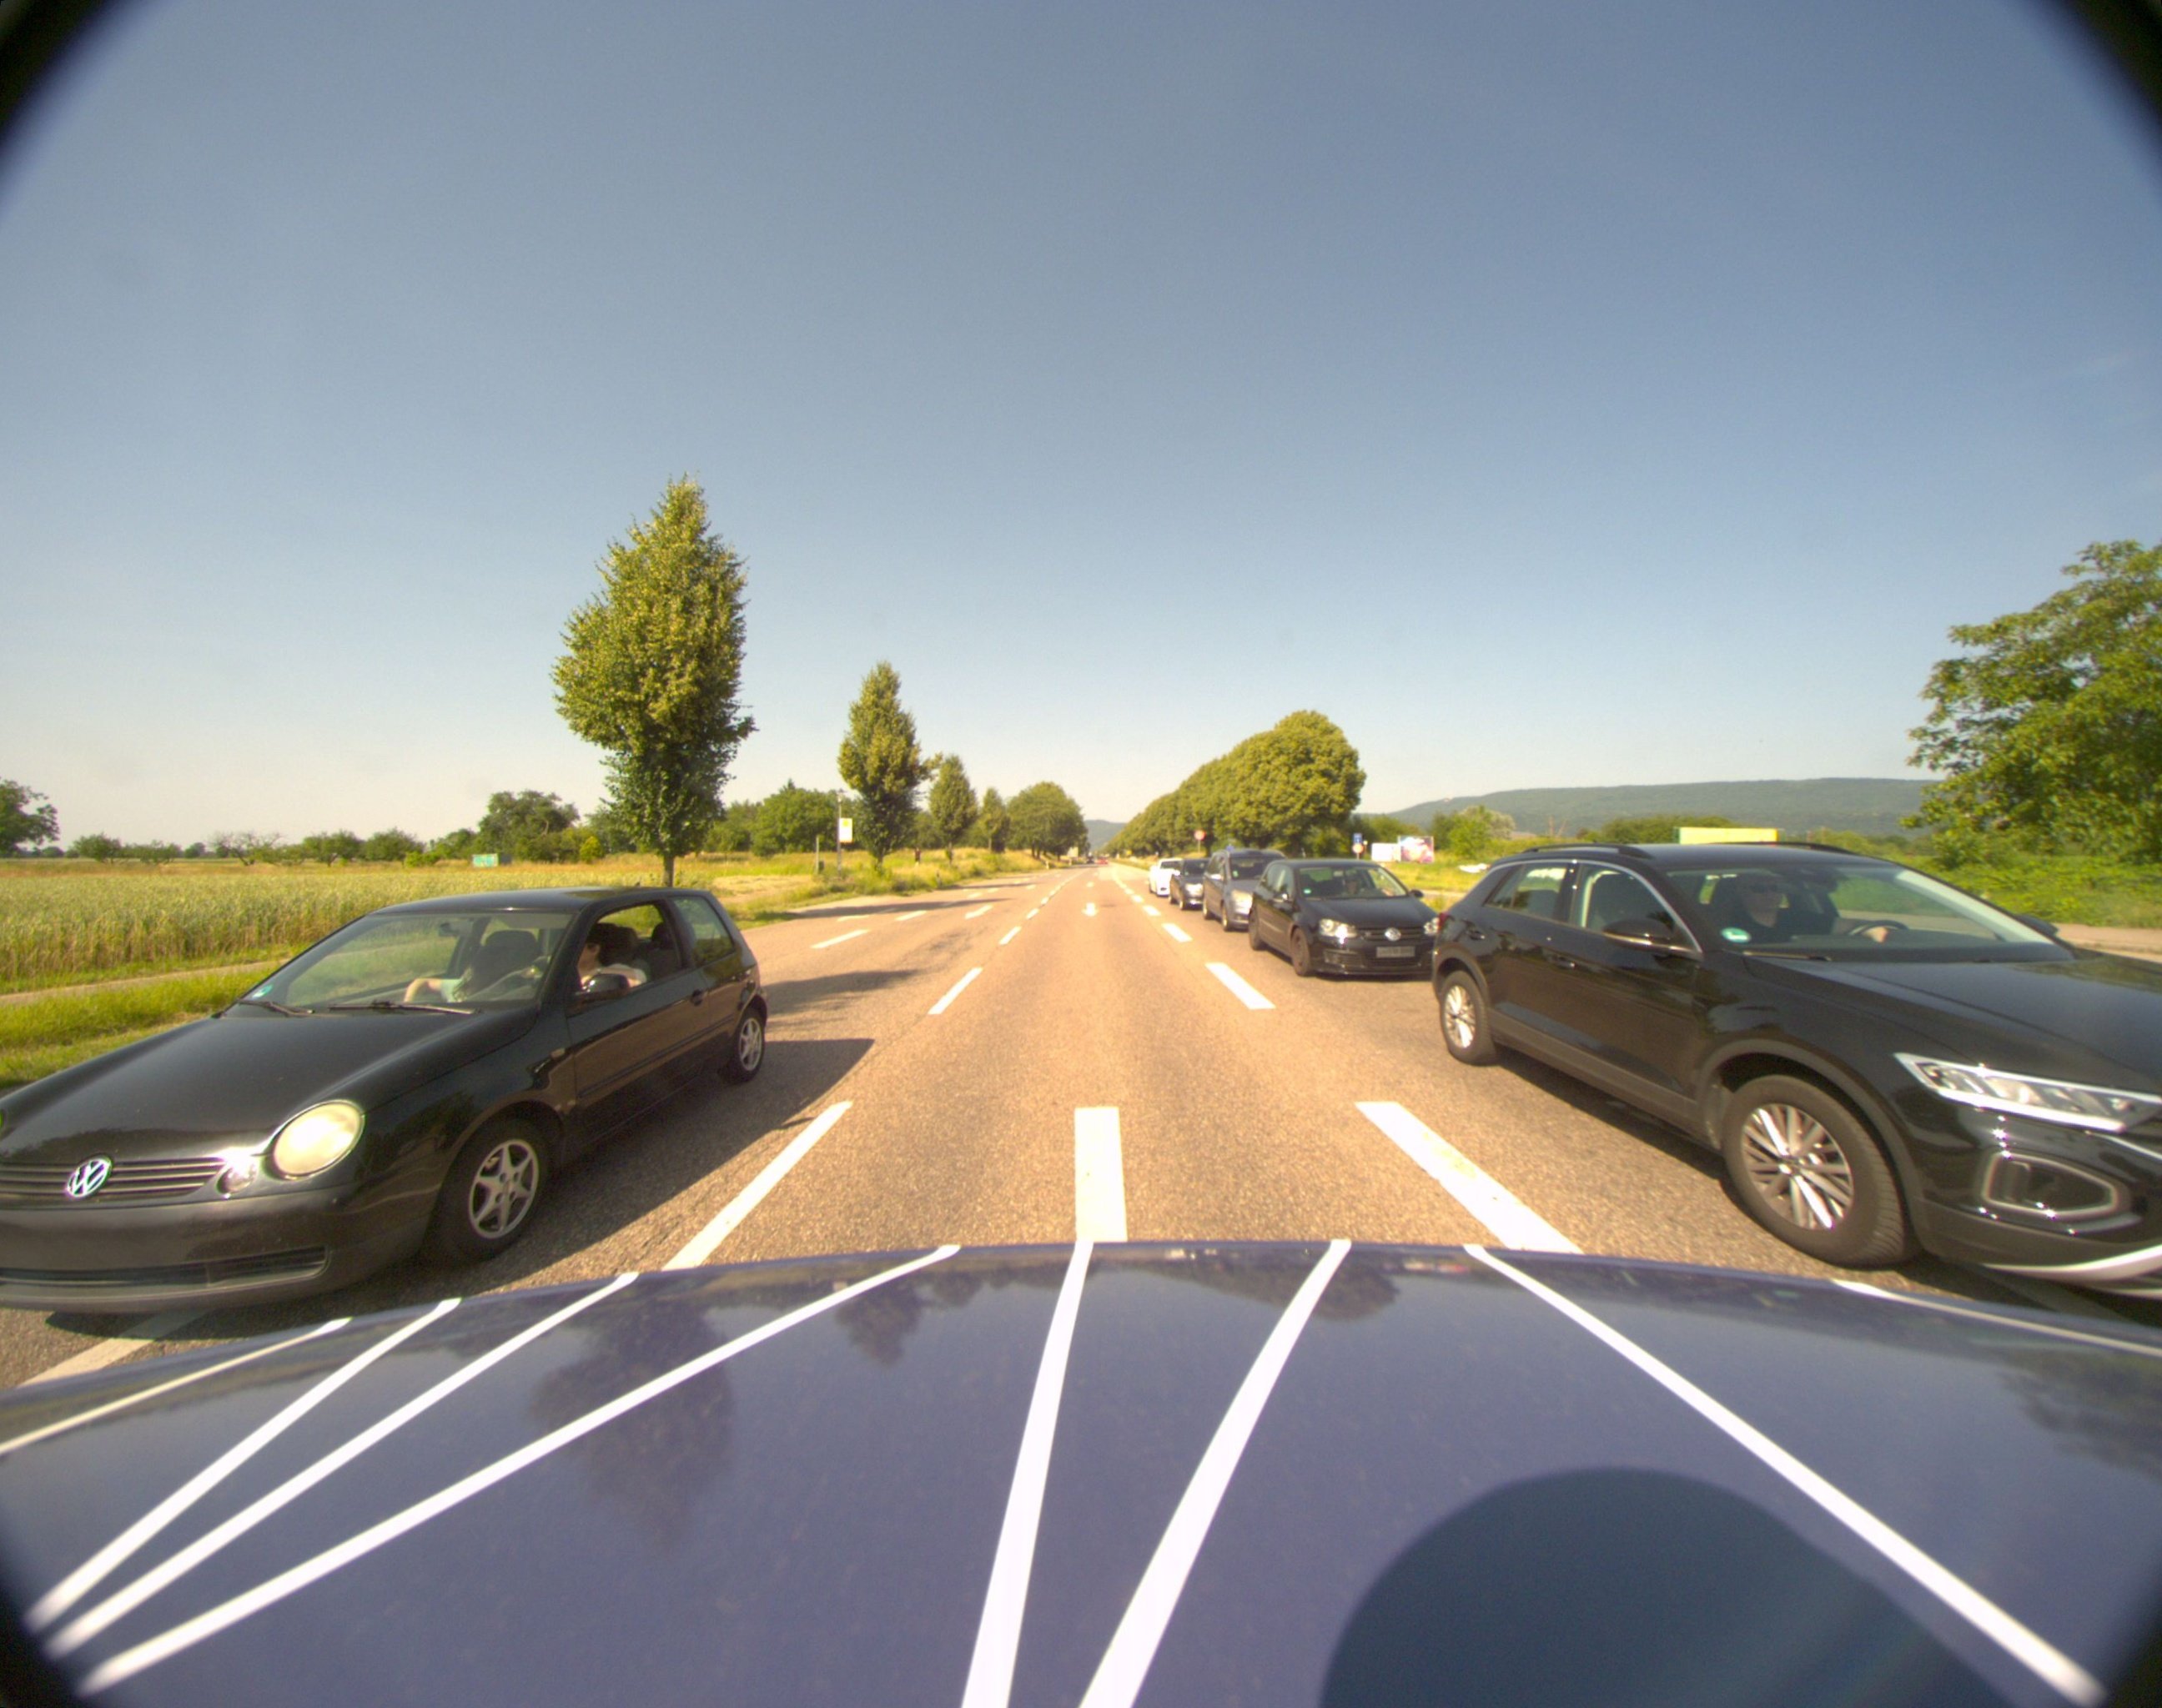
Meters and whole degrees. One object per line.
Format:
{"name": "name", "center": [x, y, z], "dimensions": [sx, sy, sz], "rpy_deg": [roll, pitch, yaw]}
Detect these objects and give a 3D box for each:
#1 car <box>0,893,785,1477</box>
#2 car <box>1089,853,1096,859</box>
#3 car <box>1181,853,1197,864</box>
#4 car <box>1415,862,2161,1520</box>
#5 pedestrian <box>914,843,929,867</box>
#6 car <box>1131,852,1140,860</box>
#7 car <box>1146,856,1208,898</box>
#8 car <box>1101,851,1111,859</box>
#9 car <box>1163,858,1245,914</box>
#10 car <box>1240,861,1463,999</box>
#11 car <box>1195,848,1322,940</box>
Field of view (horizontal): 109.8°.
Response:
{"name": "car", "center": [-3.107, 1.039, 3.940], "dimensions": [1.629, 1.425, 3.622], "rpy_deg": [-2, 0, 1]}
{"name": "car", "center": [2.693, 0.511, 180.191], "dimensions": [1.680, 1.499, 3.725], "rpy_deg": [0, 0, 1]}
{"name": "car", "center": [15.616, 0.574, 110.277], "dimensions": [1.619, 1.434, 3.775], "rpy_deg": [-5, 1, -1]}
{"name": "car", "center": [3.450, 0.845, 3.886], "dimensions": [1.733, 1.538, 4.098], "rpy_deg": [-1, 0, 1]}
{"name": "pedestrian", "center": [-12.425, 0.069, 59.111], "dimensions": [0.904, 1.828, 1.194], "rpy_deg": [0, 0, -1]}
{"name": "car", "center": [11.927, 0.432, 166.407], "dimensions": [1.887, 1.506, 4.148], "rpy_deg": [0, 0, 1]}
{"name": "car", "center": [3.586, 0.837, 29.198], "dimensions": [1.808, 1.417, 4.641], "rpy_deg": [-1, 0, 1]}
{"name": "car", "center": [4.569, 0.194, 137.418], "dimensions": [1.680, 1.499, 3.725], "rpy_deg": [0, 0, 1]}
{"name": "car", "center": [3.484, 0.860, 22.214], "dimensions": [1.719, 1.402, 4.355], "rpy_deg": [-2, 0, 1]}
{"name": "car", "center": [3.428, 0.864, 10.470], "dimensions": [1.670, 1.466, 4.098], "rpy_deg": [-1, 0, 1]}
{"name": "car", "center": [3.612, 0.741, 16.262], "dimensions": [1.745, 1.662, 4.357], "rpy_deg": [-1, 0, 1]}
